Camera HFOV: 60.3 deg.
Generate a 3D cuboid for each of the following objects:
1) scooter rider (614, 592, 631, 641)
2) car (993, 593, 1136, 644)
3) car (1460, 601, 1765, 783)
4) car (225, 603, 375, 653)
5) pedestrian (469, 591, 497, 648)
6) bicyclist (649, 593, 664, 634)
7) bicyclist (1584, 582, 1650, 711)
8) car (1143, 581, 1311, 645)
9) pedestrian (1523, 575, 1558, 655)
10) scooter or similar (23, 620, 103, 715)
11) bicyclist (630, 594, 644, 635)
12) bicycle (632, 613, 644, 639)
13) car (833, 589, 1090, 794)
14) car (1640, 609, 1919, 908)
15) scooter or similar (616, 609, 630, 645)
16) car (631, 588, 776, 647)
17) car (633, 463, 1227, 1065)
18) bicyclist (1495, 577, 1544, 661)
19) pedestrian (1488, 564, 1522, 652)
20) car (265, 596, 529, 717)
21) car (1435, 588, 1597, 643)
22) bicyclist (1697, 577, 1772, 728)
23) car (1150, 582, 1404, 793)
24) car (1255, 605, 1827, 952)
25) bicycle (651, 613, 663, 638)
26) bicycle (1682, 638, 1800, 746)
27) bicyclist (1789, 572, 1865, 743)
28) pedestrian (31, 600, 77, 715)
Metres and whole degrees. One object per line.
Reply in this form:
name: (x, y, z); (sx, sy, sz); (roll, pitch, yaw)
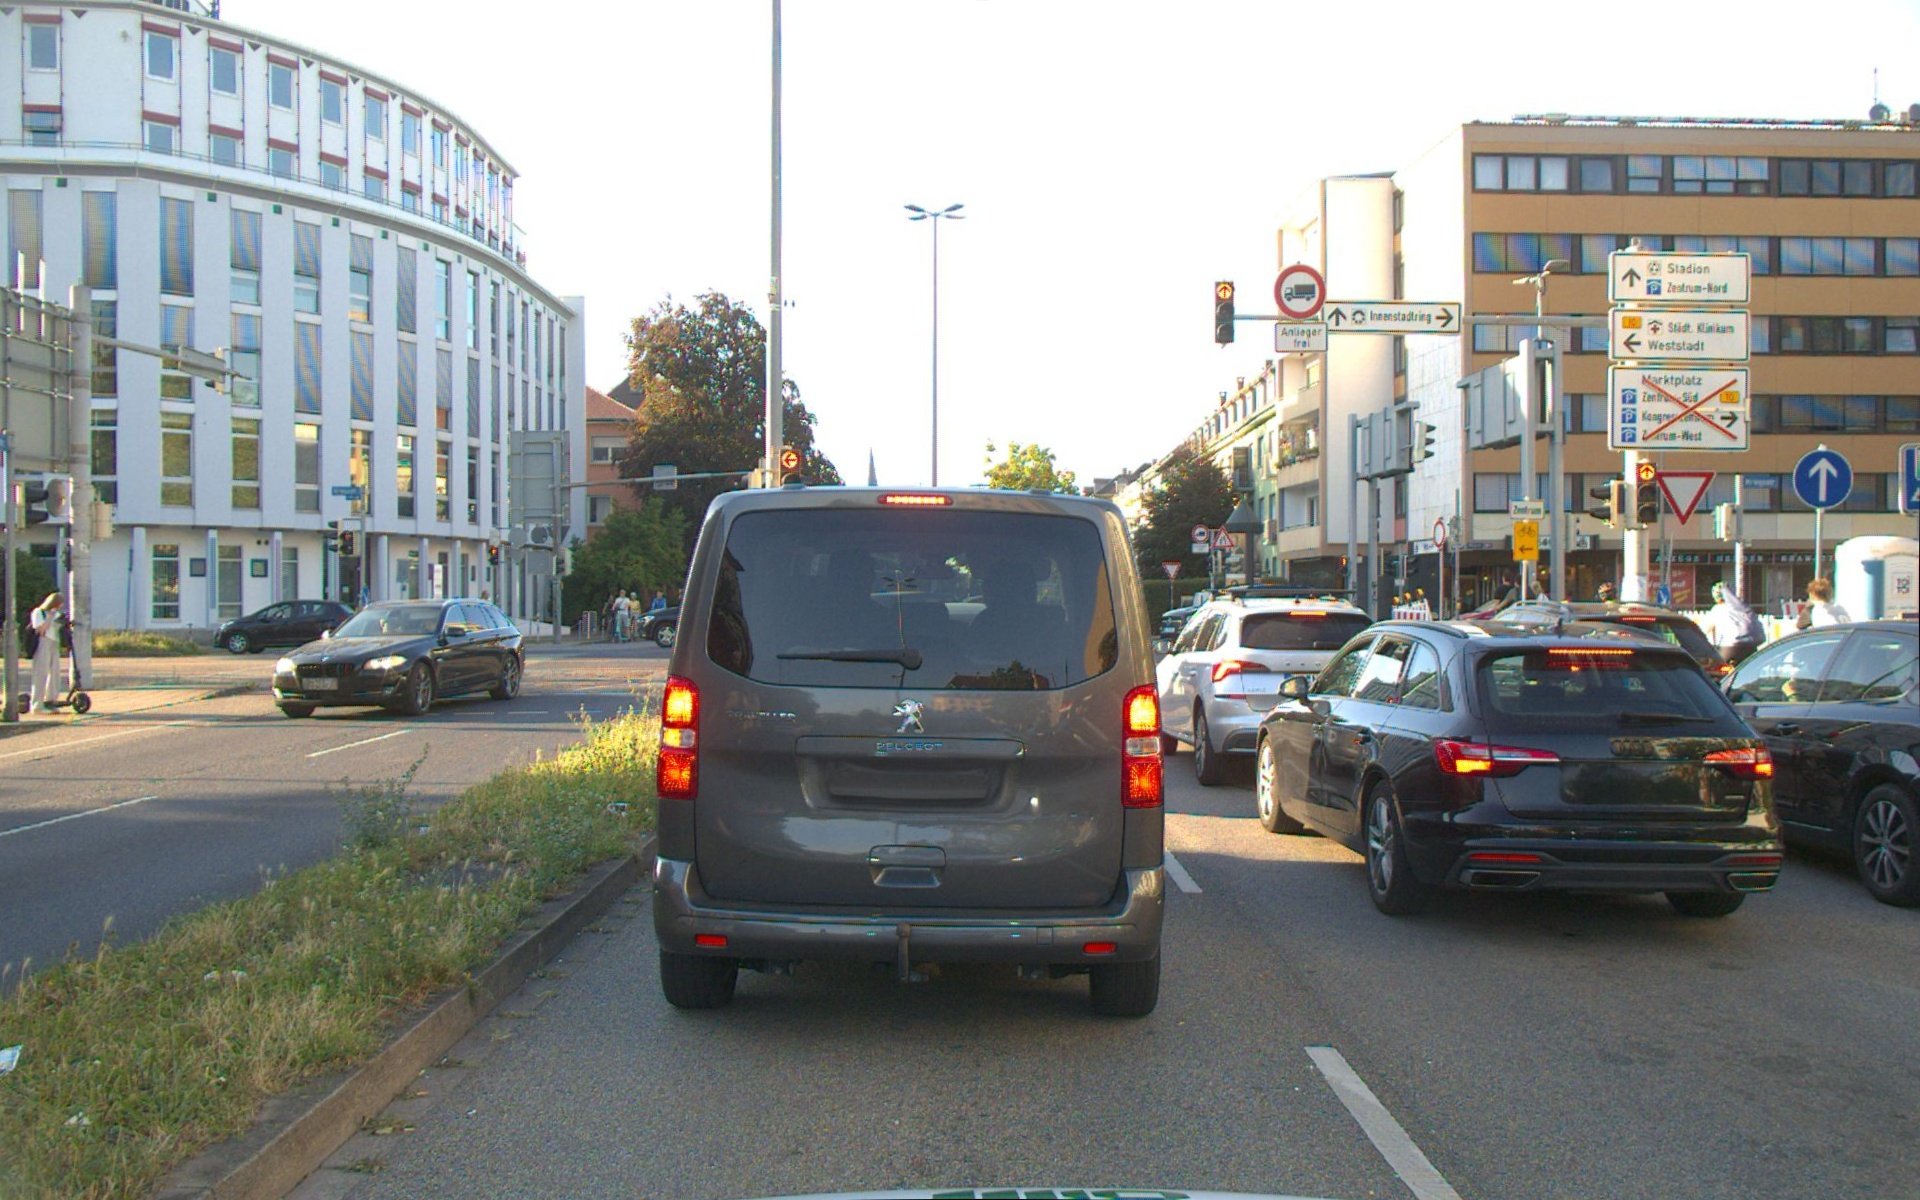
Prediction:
scooter rider: (-11.855, 0.584, 58.137); (0.471, 1.727, 0.636); (0, 0, -1)
car: (2.892, 0.507, 46.215); (3.743, 1.378, 1.725); (0, 0, -6)
car: (5.940, 0.769, 15.434); (1.474, 1.474, 3.304); (1, 0, -1)
car: (-18.253, 0.762, 45.871); (3.539, 1.319, 1.832); (0, 0, -9)
pedestrian: (-14.676, 0.590, 50.921); (0.621, 1.752, 0.662); (0, 0, -38)
bicyclist: (-11.616, 0.513, 63.352); (0.467, 1.582, 0.509); (0, 0, -1)
bicyclist: (8.066, 0.564, 20.321); (0.503, 1.552, 0.725); (0, 0, -1)
car: (6.747, 0.298, 41.749); (3.935, 1.543, 1.669); (0, 0, -25)
pedestrian: (12.406, 0.323, 35.374); (0.589, 1.700, 0.454); (0, 0, 1)
scooter or similar: (-12.137, 0.910, 22.388); (0.877, 1.255, 0.370); (0, 0, -12)
bicyclist: (-12.390, 0.547, 63.495); (0.453, 1.548, 0.469); (0, 0, -1)
bicycle: (-12.373, 0.983, 63.566); (0.285, 0.965, 1.072); (0, 0, -1)
car: (-0.014, 0.690, 14.613); (1.953, 1.557, 3.999); (0, 0, -1)
car: (5.608, 0.821, 9.737); (1.600, 1.474, 3.744); (1, 0, -1)
scooter or similar: (-11.862, 0.944, 58.225); (0.279, 1.209, 1.169); (0, 0, -1)
car: (-7.372, 0.502, 47.789); (4.039, 1.622, 1.793); (0, -1, -6)
car: (-0.126, 0.521, 7.562); (1.868, 1.896, 4.525); (1, 0, -1)
bicyclist: (10.882, 0.359, 32.166); (0.605, 1.616, 0.814); (1, 1, -4)
pedestrian: (11.621, 0.167, 35.288); (0.558, 1.866, 0.487); (0, 0, 1)
car: (-7.505, 0.702, 22.524); (1.661, 1.467, 4.245); (-1, 0, 8)
car: (15.127, 0.408, 45.069); (3.920, 1.443, 1.675); (0, 0, -14)
bicyclist: (8.138, 0.542, 17.387); (0.432, 1.552, 0.725); (0, 0, -1)
car: (2.721, 0.687, 14.926); (1.498, 1.641, 3.744); (1, 0, -1)
car: (2.890, 0.780, 9.249); (1.647, 1.446, 4.213); (1, 0, -1)
bicycle: (-11.601, 0.969, 63.381); (0.270, 0.965, 1.072); (0, 0, -1)
bicycle: (8.134, 0.933, 17.304); (0.329, 1.025, 1.855); (0, 0, -1)
bicyclist: (7.975, 0.520, 15.226); (0.432, 1.552, 0.482); (0, 0, -1)
pedestrian: (-12.254, 0.769, 22.377); (0.466, 1.532, 0.334); (0, 0, -13)
